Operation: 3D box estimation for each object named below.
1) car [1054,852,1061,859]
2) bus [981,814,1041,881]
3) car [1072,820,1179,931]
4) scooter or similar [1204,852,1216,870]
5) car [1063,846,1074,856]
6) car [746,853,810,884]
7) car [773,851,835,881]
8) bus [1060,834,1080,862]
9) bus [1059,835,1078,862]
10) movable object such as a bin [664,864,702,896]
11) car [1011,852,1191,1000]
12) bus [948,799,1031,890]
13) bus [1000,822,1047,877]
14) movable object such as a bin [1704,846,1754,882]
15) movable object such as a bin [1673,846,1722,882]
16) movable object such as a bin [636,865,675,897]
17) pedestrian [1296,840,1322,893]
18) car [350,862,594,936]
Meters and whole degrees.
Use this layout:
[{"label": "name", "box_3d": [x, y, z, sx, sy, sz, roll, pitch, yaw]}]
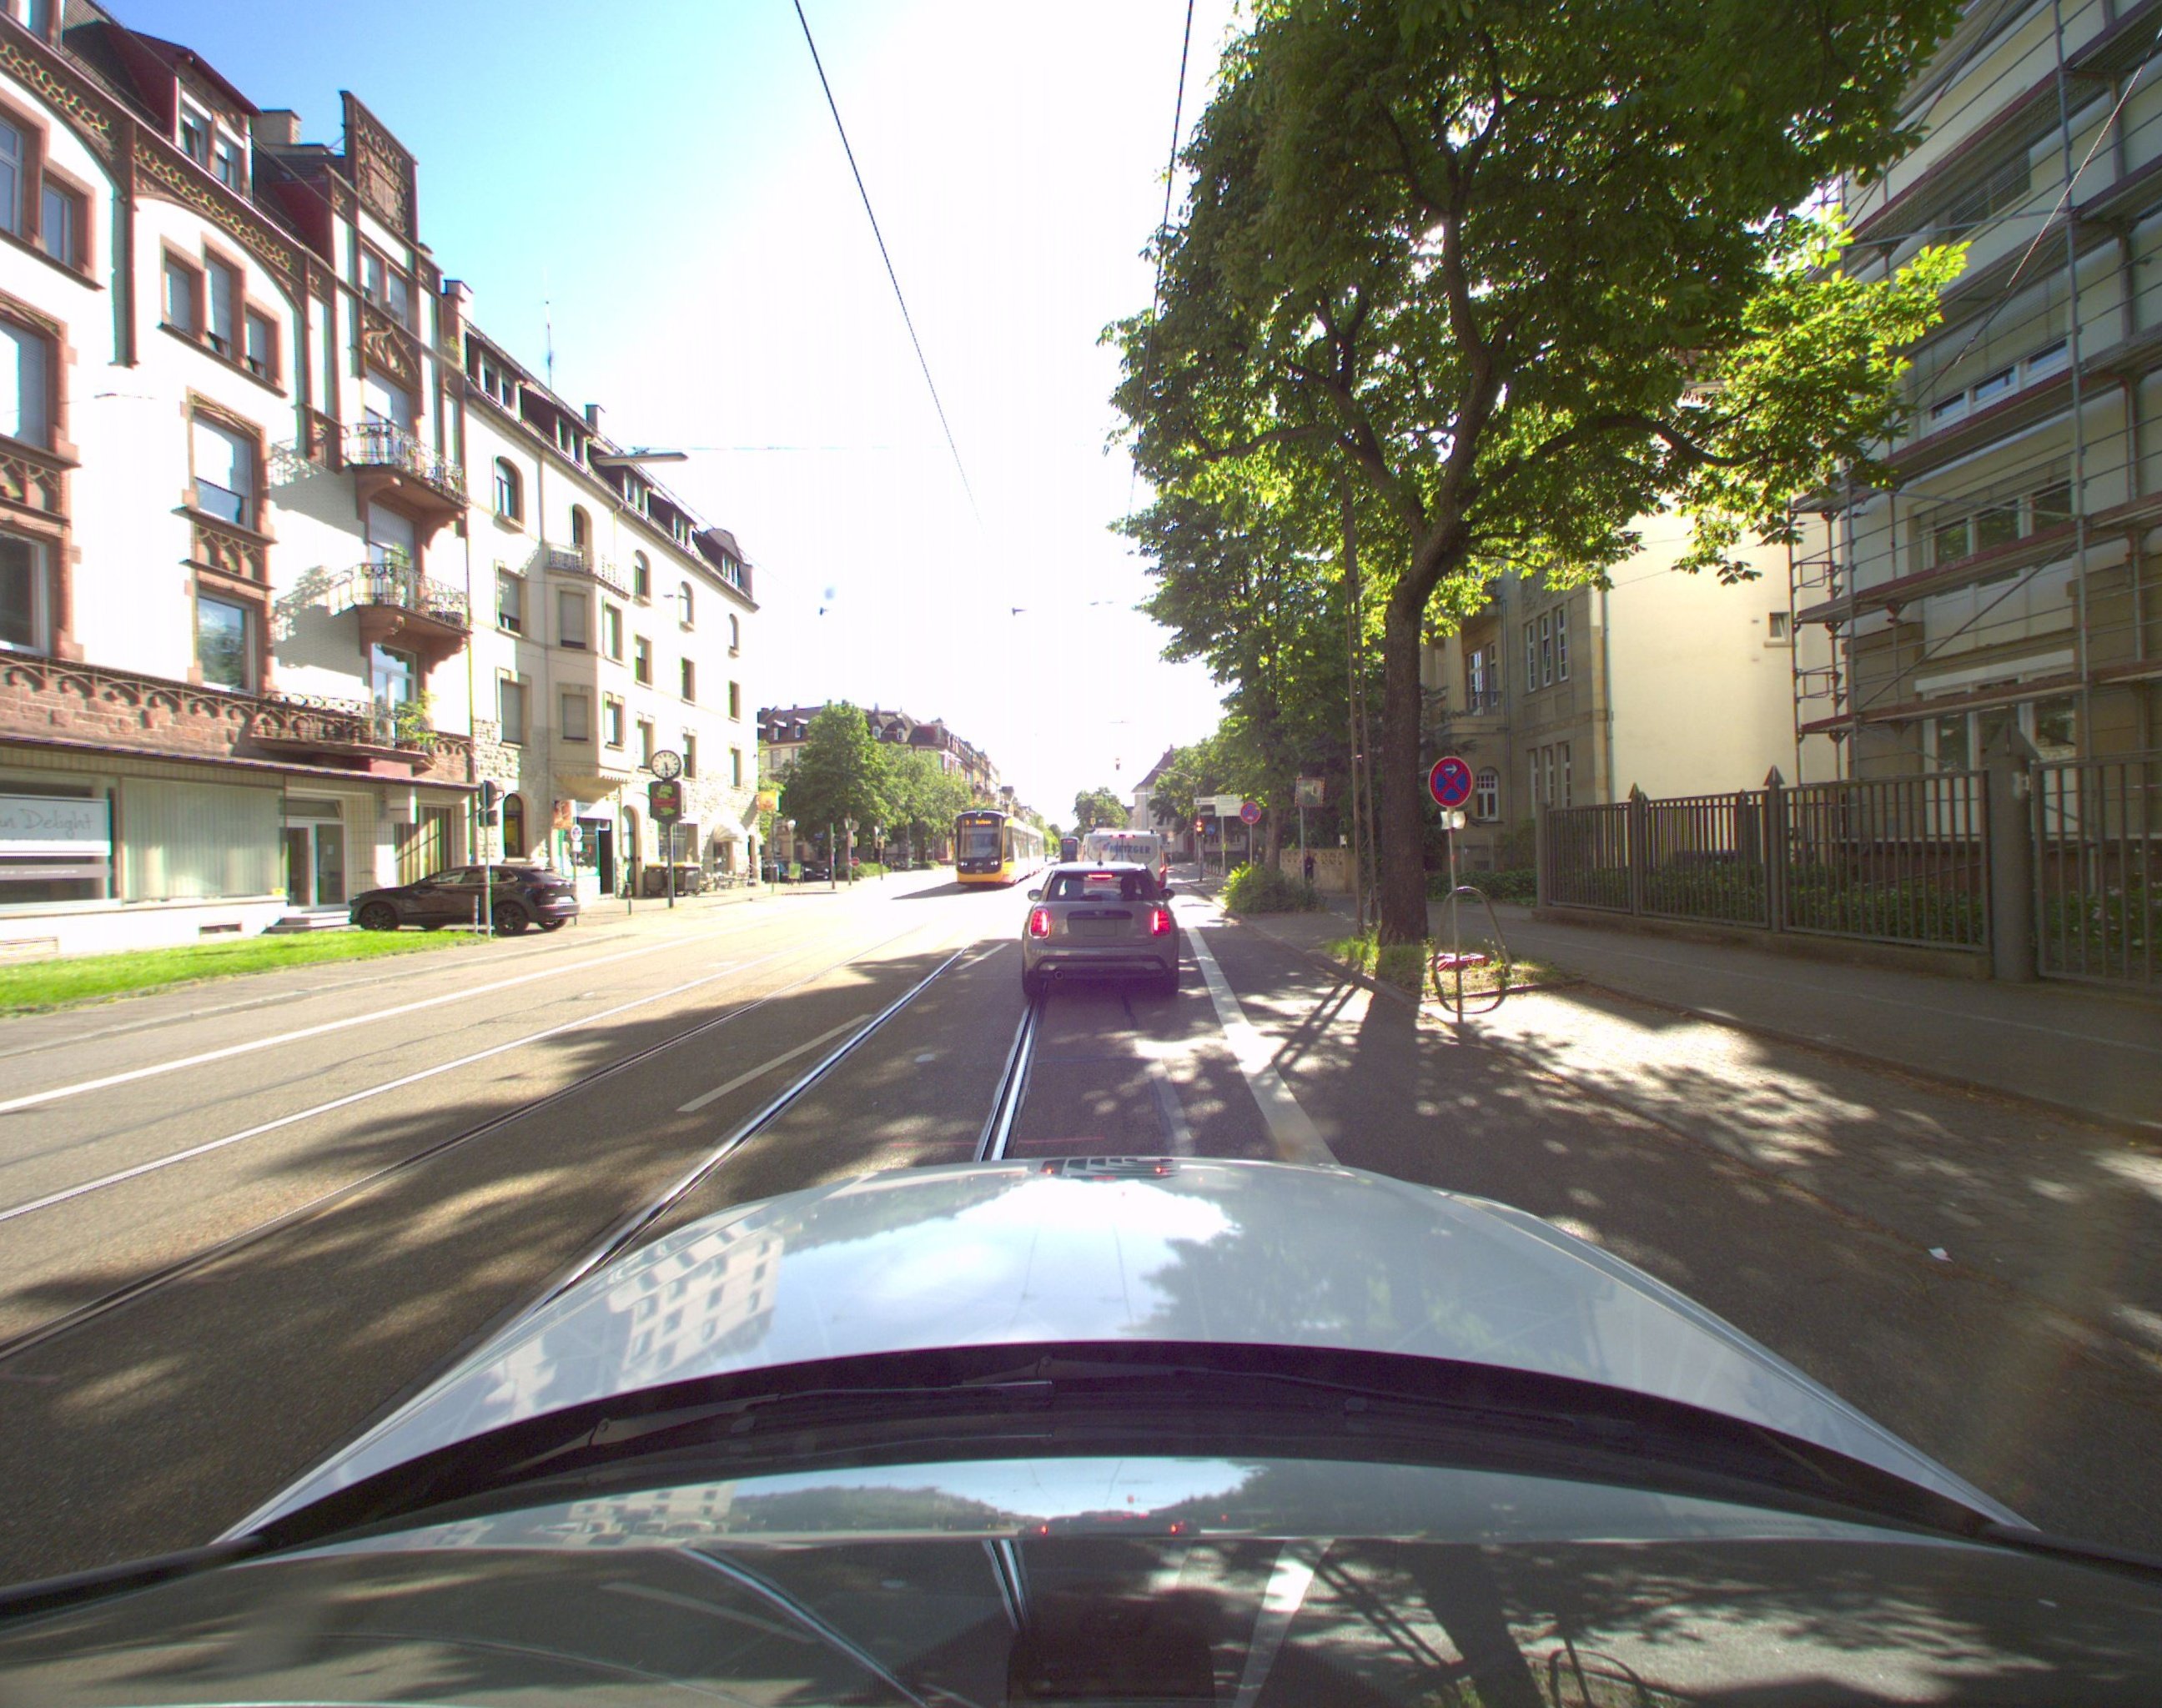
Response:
[{"label": "car", "box_3d": [-5.922, 0.398, 208.452, 1.771, 1.618, 3.997, 0, -1, -2]}, {"label": "bus", "box_3d": [-4.202, -0.328, 51.269, 2.851, 3.777, 11.179, 0, 0, -1]}, {"label": "car", "box_3d": [0.970, 0.446, 18.694, 2.110, 2.208, 4.946, 0, -1, 2]}, {"label": "scooter or similar", "box_3d": [9.317, 0.494, 58.756, 0.673, 1.310, 1.329, 0, -1, 1]}, {"label": "car", "box_3d": [-2.078, -0.508, 137.735, 1.859, 1.563, 3.997, 0, -1, -2]}, {"label": "car", "box_3d": [-20.551, 0.990, 55.189, 3.949, 2.014, 2.012, -1, -1, 30]}, {"label": "car", "box_3d": [-19.493, 0.826, 57.243, 3.949, 2.014, 2.012, -1, -1, 30]}, {"label": "bus", "box_3d": [-1.444, -0.745, 104.526, 2.379, 3.496, 7.377, 0, -1, -2]}, {"label": "bus", "box_3d": [-1.726, -0.703, 111.951, 2.379, 3.496, 7.377, 0, -1, -2]}, {"label": "movable object such as a bin", "box_3d": [-16.041, 1.047, 32.850, 0.941, 1.273, 1.145, 0, -1, 5]}, {"label": "car", "box_3d": [0.262, 0.743, 10.218, 1.808, 1.488, 4.001, 0, -1, 2]}, {"label": "bus", "box_3d": [-4.200, -0.358, 39.963, 2.851, 3.777, 11.494, 0, 0, -1]}, {"label": "bus", "box_3d": [-4.267, -0.258, 62.919, 2.841, 3.777, 12.193, 0, 0, 0]}, {"label": "movable object such as a bin", "box_3d": [17.542, 0.269, 22.044, 0.831, 0.955, 0.648, 0, -1, 0]}, {"label": "movable object such as a bin", "box_3d": [16.677, 0.275, 22.032, 0.831, 0.955, 0.648, 0, -1, 0]}, {"label": "movable object such as a bin", "box_3d": [-16.965, 1.068, 32.510, 0.829, 1.223, 1.245, 0, -1, 4]}, {"label": "pedestrian", "box_3d": [7.404, 0.397, 26.515, 0.590, 1.671, 0.647, -3, -1, 1]}, {"label": "car", "box_3d": [-13.588, 0.990, 18.391, 3.981, 1.503, 1.768, 1, -1, -6]}]
